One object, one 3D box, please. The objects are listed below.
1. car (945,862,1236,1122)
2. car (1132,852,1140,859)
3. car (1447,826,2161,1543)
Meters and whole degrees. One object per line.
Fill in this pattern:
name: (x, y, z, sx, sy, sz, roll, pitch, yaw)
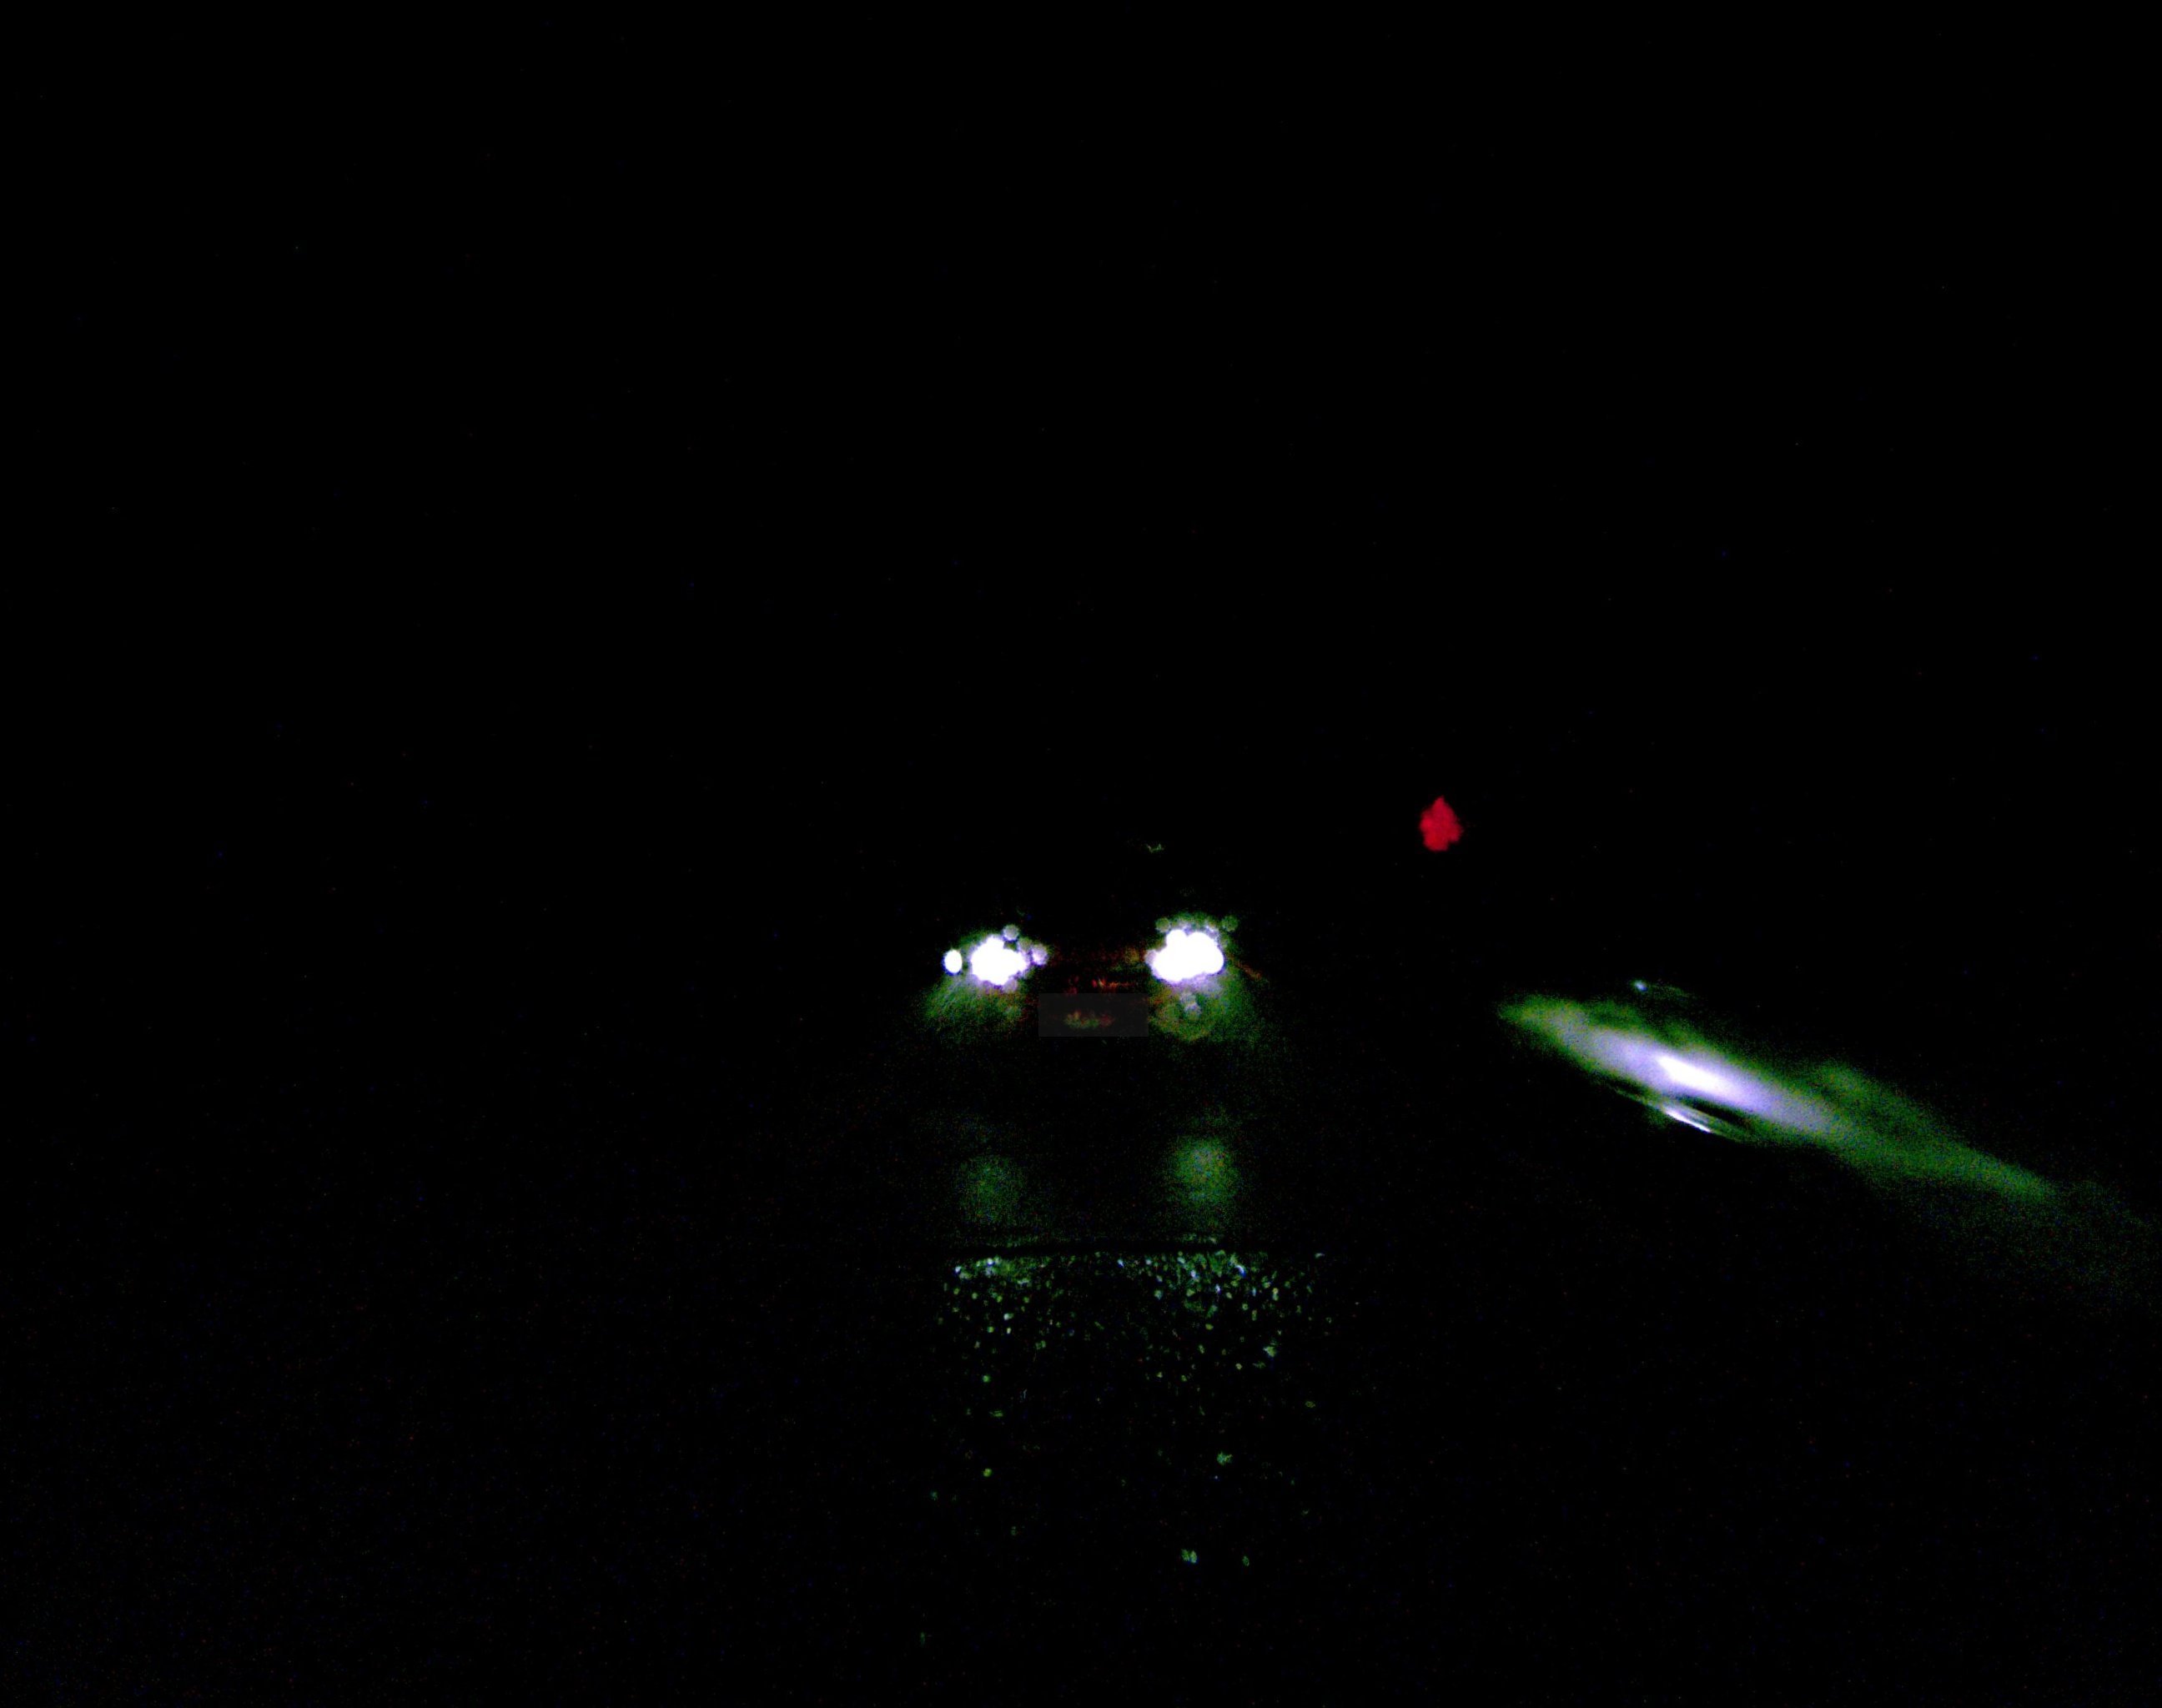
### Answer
car: (0.157, 0.930, 6.948, 1.845, 1.565, 4.000, -2, 1, 3)
car: (14.272, 0.417, 197.311, 1.845, 1.565, 4.000, -2, 1, 3)
car: (3.439, 0.749, 3.005, 1.957, 1.646, 4.124, -1, 0, -1)
